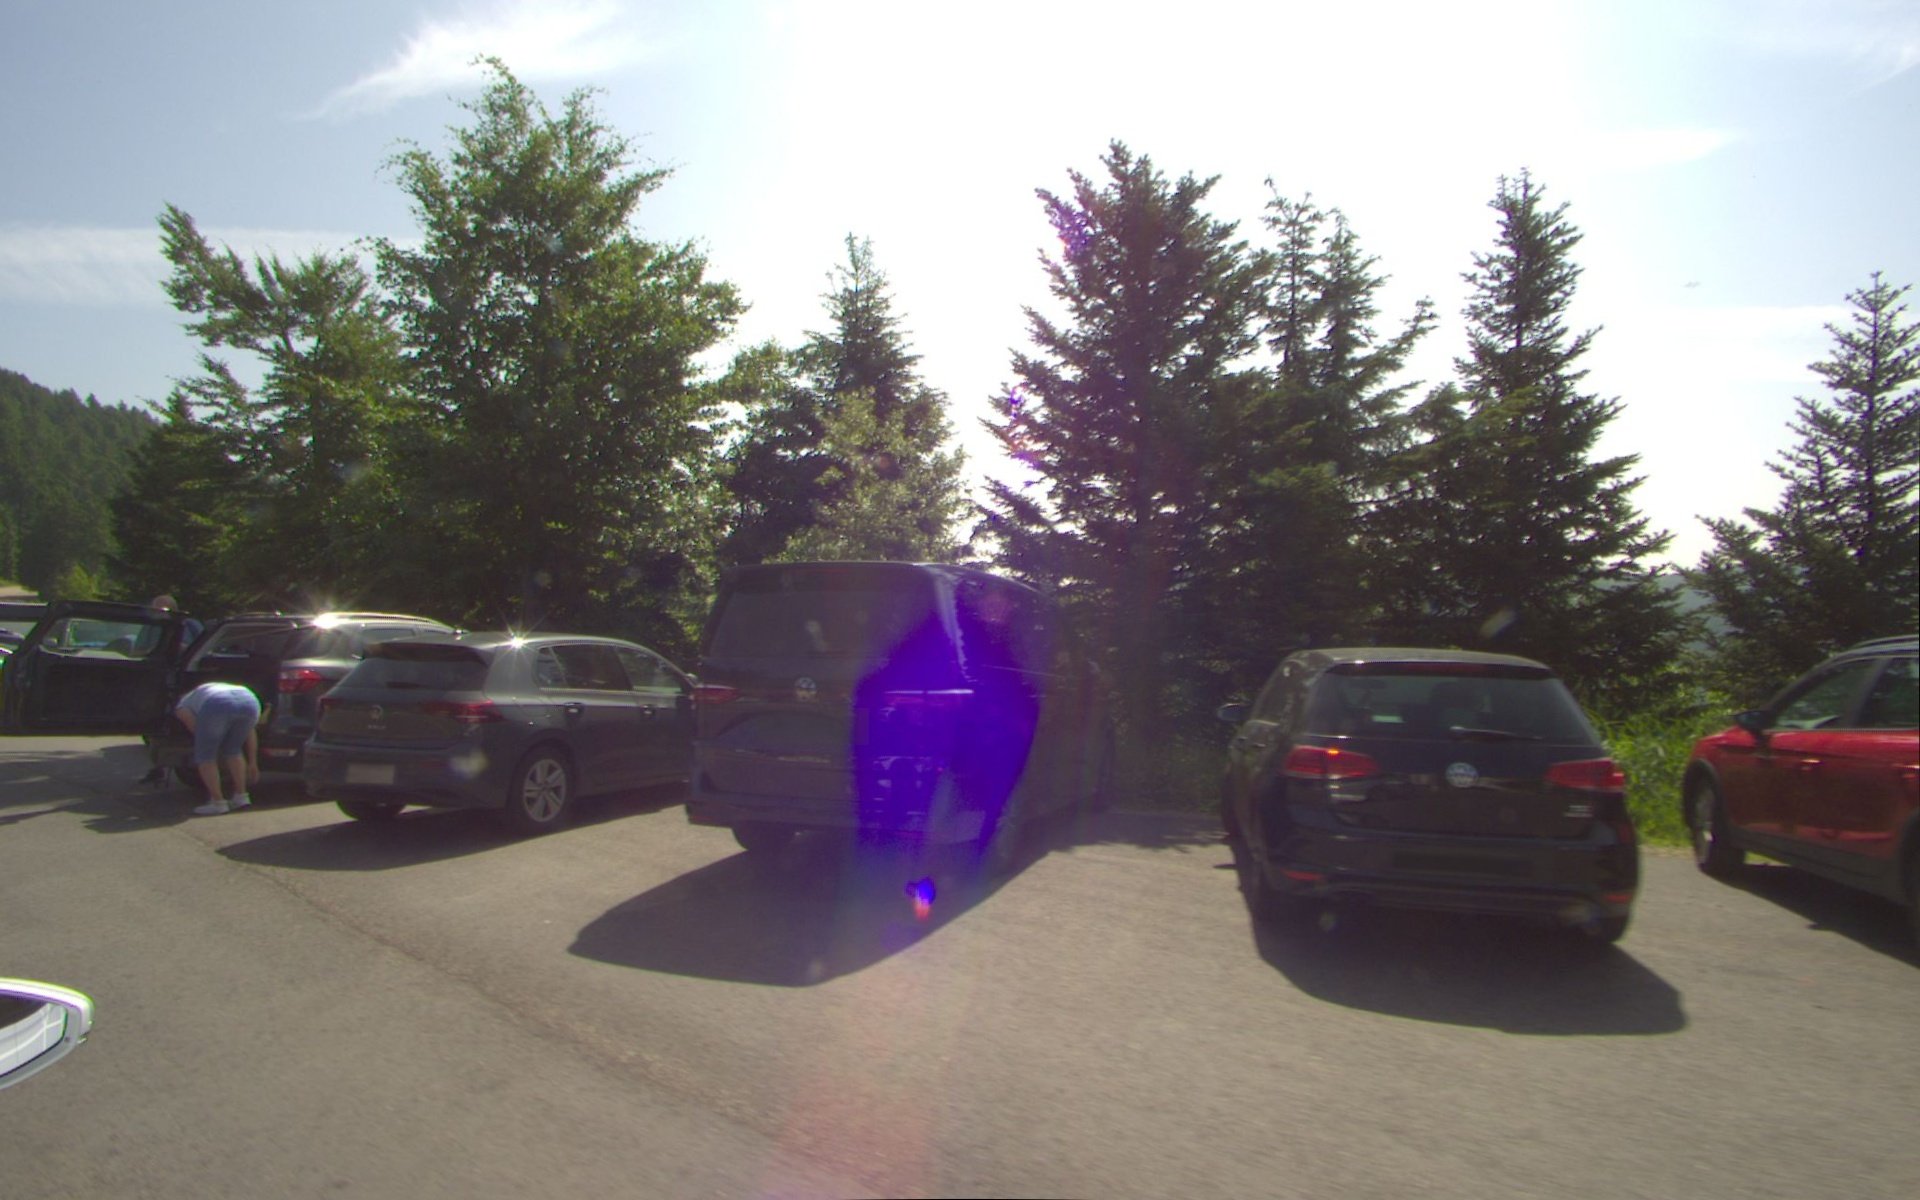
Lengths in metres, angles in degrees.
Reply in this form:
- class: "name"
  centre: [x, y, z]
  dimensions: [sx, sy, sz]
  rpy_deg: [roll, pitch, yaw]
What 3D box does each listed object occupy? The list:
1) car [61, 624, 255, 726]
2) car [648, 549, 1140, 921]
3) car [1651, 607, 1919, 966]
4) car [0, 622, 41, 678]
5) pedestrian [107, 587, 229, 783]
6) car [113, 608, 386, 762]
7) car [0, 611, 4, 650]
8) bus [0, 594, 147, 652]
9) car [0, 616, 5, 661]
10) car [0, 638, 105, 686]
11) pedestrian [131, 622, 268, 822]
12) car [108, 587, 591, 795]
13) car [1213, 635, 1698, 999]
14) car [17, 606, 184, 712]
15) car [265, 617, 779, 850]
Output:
- class: "car"
  centre: [-13.679, 1.258, 17.013]
  dimensions: [4.001, 1.536, 1.674]
  rpy_deg: [-2, -6, 39]
- class: "car"
  centre: [-0.043, 0.808, 7.724]
  dimensions: [1.932, 1.903, 4.766]
  rpy_deg: [1, -3, 21]
- class: "car"
  centre: [5.482, 0.908, 5.254]
  dimensions: [1.829, 1.609, 3.998]
  rpy_deg: [1, -3, 16]
- class: "car"
  centre: [-31.678, 1.464, 31.222]
  dimensions: [1.971, 1.720, 3.984]
  rpy_deg: [1, -4, 33]
- class: "pedestrian"
  centre: [-7.503, 0.795, 9.517]
  dimensions: [0.569, 1.782, 0.633]
  rpy_deg: [2, -3, -5]
- class: "car"
  centre: [-9.195, 1.033, 12.837]
  dimensions: [4.258, 1.651, 1.738]
  rpy_deg: [-1, -5, 40]
- class: "car"
  centre: [-44.023, 1.259, 43.067]
  dimensions: [1.918, 1.837, 3.970]
  rpy_deg: [2, -3, 42]
- class: "bus"
  centre: [-60.420, 1.447, 64.053]
  dimensions: [12.733, 3.626, 2.962]
  rpy_deg: [2, 1, -34]
- class: "car"
  centre: [-39.127, 1.337, 37.964]
  dimensions: [1.845, 1.741, 3.973]
  rpy_deg: [2, -3, 40]
- class: "car"
  centre: [-27.722, 1.752, 28.796]
  dimensions: [1.556, 1.314, 4.461]
  rpy_deg: [1, -5, 24]
- class: "pedestrian"
  centre: [-5.919, 0.902, 7.799]
  dimensions: [0.768, 1.422, 0.662]
  rpy_deg: [-1, 3, -44]
- class: "car"
  centre: [-5.893, 0.926, 10.369]
  dimensions: [1.962, 1.681, 4.003]
  rpy_deg: [1, -5, 13]
- class: "car"
  centre: [2.569, 0.992, 6.222]
  dimensions: [1.711, 1.432, 4.001]
  rpy_deg: [1, -3, 12]
- class: "car"
  centre: [-18.259, 1.223, 21.199]
  dimensions: [4.763, 1.996, 1.898]
  rpy_deg: [-1, -5, 41]
- class: "car"
  centre: [-3.375, 0.973, 8.652]
  dimensions: [1.807, 1.461, 3.996]
  rpy_deg: [1, -3, 19]
